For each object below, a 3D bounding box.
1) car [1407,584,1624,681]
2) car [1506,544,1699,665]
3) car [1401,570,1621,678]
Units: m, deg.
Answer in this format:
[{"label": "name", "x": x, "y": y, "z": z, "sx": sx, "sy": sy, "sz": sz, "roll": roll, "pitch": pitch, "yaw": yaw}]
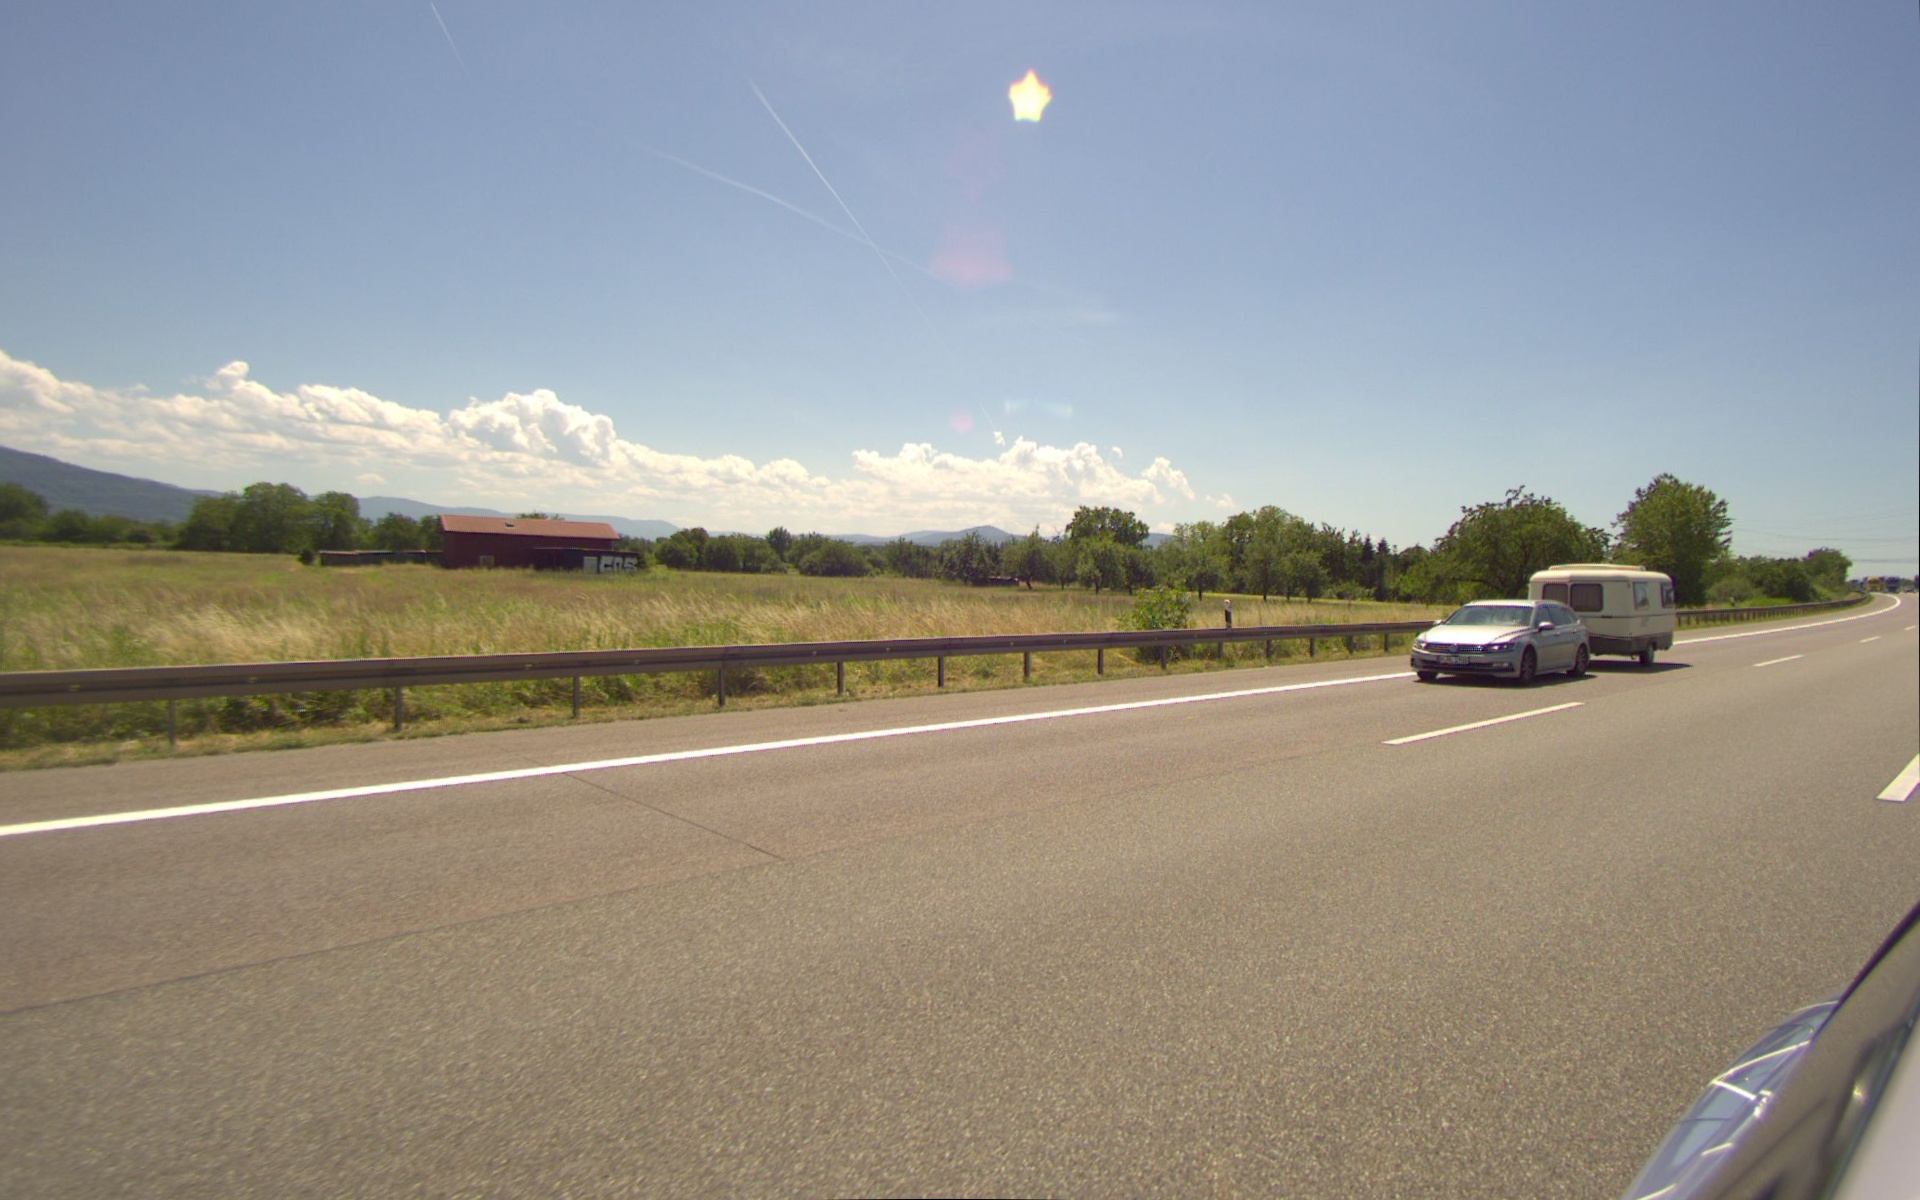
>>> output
[{"label": "car", "x": 10.339, "y": 0.511, "z": 18.626, "sx": 5.288, "sy": 1.534, "sz": 1.889, "roll": 0, "pitch": 0, "yaw": -42}, {"label": "car", "x": 14.320, "y": 0.122, "z": 22.425, "sx": 5.232, "sy": 2.351, "sz": 2.444, "roll": 1, "pitch": -1, "yaw": -44}, {"label": "car", "x": 10.223, "y": 0.392, "z": 18.537, "sx": 5.419, "sy": 1.679, "sz": 2.046, "roll": 1, "pitch": 1, "yaw": -45}]
